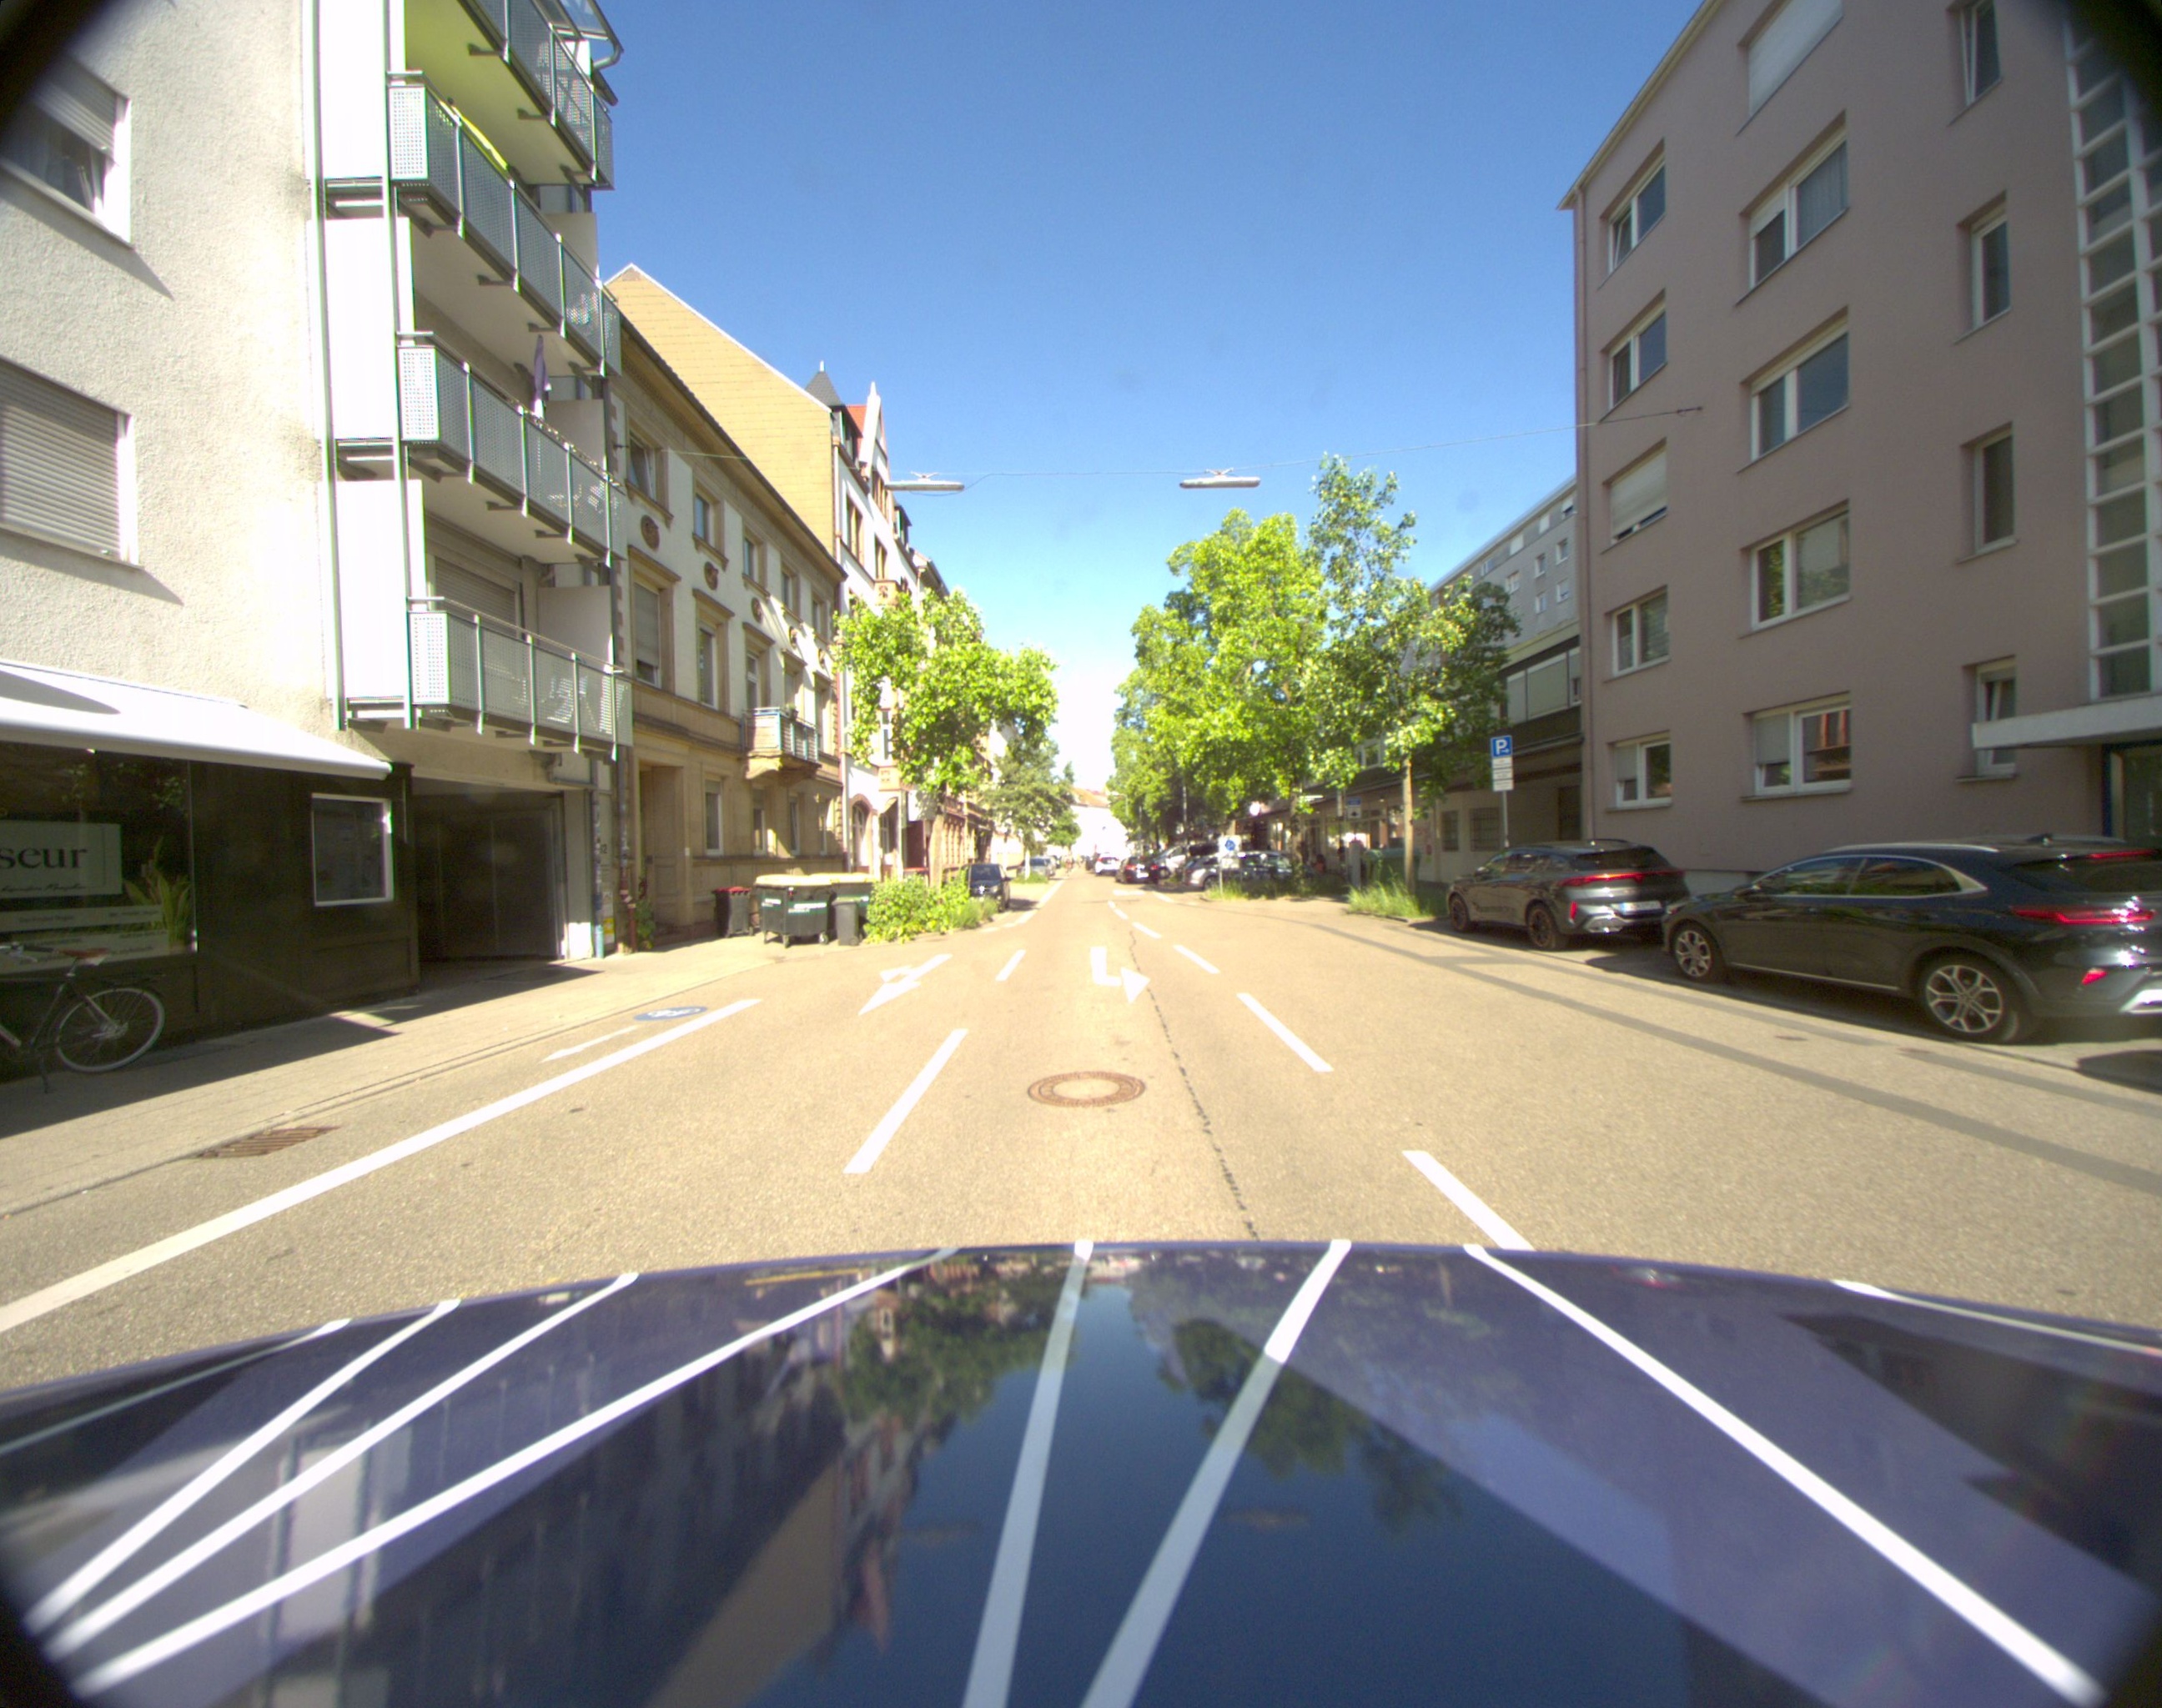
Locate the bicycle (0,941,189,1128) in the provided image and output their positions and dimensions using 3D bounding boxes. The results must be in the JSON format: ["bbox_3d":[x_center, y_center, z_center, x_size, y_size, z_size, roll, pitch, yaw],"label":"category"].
[{"bbox_3d":[-7.694,1.302,5.404,0.598,1.137,1.774,1,0,1],"label":"bicycle"}]

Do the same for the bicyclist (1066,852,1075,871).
[{"bbox_3d":[-0.766,0.541,55.753,0.582,1.369,0.665,-2,1,6],"label":"bicyclist"}]

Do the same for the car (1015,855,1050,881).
[{"bbox_3d":[-2.864,0.799,45.768,1.914,1.444,3.546,-2,0,-1],"label":"car"}]

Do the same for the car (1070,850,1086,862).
[{"bbox_3d":[-0.364,0.228,90.915,1.713,1.444,3.547,-2,0,3],"label":"car"}]

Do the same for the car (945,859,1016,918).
[{"bbox_3d":[-3.004,0.994,23.311,1.627,1.586,3.547,-2,0,1],"label":"car"}]

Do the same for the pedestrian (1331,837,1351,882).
[{"bbox_3d":[10.650,0.220,31.086,0.623,1.795,0.502,-2,1,2],"label":"pedestrian"}]

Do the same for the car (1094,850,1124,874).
[{"bbox_3d":[1.909,0.552,52.595,1.911,1.543,4.000,-2,0,0],"label":"car"}]

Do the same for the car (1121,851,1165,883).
[{"bbox_3d":[3.165,0.623,39.499,1.911,1.543,4.000,-2,0,0],"label":"car"}]

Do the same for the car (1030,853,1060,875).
[{"bbox_3d":[-2.586,0.707,55.592,1.914,1.444,3.547,-2,0,1],"label":"car"}]

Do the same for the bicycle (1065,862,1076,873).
[{"bbox_3d":[-0.764,0.991,55.706,0.582,0.801,1.710,-2,0,6],"label":"bicycle"}]

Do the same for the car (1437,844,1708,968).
[{"bbox_3d":[7.557,0.693,12.266,1.727,1.567,4.158,-4,0,2],"label":"car"}]

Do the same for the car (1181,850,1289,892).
[{"bbox_3d":[6.137,0.663,30.621,3.996,1.543,1.913,-2,0,3],"label":"car"}]

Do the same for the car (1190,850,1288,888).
[{"bbox_3d":[6.988,0.639,33.952,3.996,1.543,1.913,-2,0,3],"label":"car"}]

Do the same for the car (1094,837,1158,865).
[{"bbox_3d":[4.204,-0.284,71.381,5.562,2.379,1.976,-2,1,-11],"label":"car"}]

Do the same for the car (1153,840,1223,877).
[{"bbox_3d":[6.282,0.266,44.890,3.875,2.031,1.913,-2,1,3],"label":"car"}]

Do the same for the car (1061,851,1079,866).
[{"bbox_3d":[-1.159,0.467,81.748,1.713,1.444,3.547,-2,0,2],"label":"car"}]

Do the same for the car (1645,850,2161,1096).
[{"bbox_3d":[7.481,0.748,6.874,1.727,1.459,4.158,-4,0,2],"label":"car"}]
